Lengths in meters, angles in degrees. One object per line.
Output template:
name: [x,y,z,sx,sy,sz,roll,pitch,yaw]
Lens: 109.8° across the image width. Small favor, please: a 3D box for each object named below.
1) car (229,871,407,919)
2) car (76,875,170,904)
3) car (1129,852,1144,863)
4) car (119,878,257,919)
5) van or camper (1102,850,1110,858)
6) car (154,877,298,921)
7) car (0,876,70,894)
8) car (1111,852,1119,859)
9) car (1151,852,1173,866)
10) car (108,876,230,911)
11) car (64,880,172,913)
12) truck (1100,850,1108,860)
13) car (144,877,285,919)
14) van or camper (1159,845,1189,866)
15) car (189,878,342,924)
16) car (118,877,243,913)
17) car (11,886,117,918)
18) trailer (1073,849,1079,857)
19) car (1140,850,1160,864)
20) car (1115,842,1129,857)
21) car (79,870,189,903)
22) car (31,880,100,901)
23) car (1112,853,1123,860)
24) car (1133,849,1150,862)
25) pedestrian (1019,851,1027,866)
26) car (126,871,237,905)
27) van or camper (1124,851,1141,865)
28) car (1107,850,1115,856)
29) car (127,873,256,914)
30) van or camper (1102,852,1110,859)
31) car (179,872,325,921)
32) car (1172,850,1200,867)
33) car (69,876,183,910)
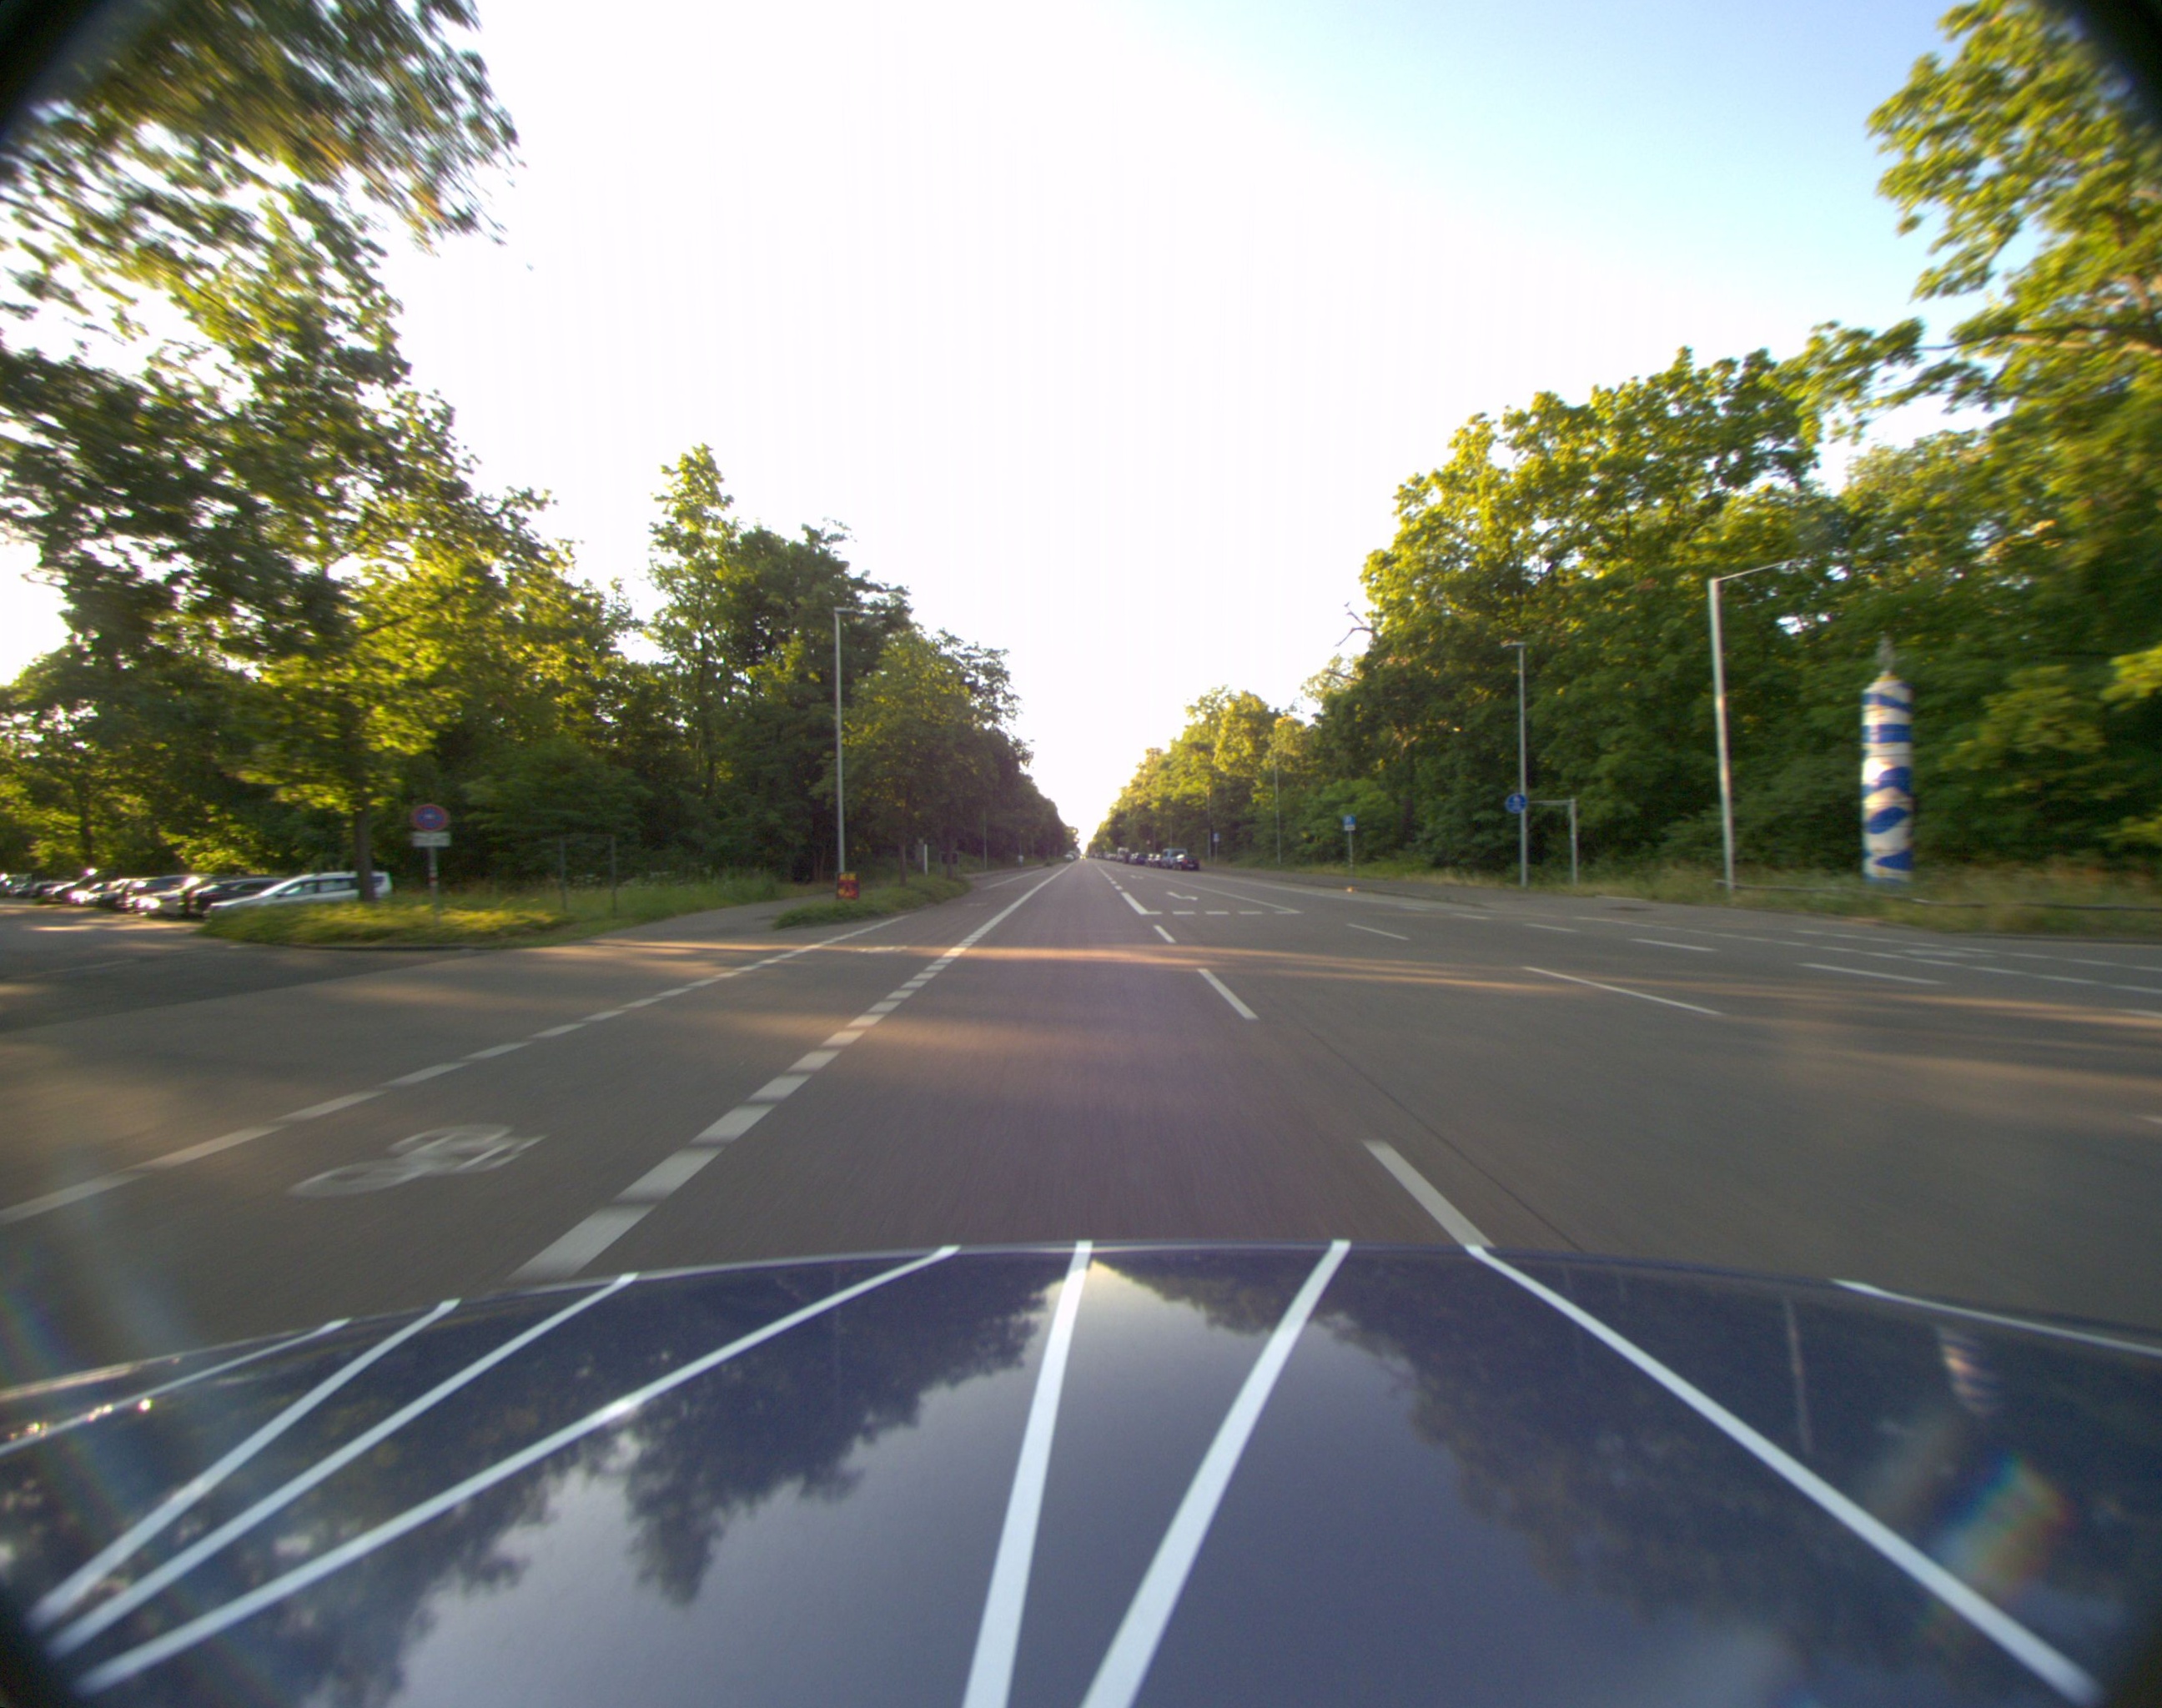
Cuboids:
car: [-26.079,1.335,26.122,1.537,1.388,4.007,-1,1,30]
car: [-63.075,2.311,50.078,1.537,1.652,3.650,-1,1,34]
car: [7.643,0.470,105.344,1.673,1.492,4.245,0,0,-2]
car: [-38.886,1.908,33.190,1.537,1.535,3.650,-1,1,30]
van or camper: [7.348,-0.005,224.173,2.116,2.376,6.381,2,0,-1]
car: [-34.849,1.771,31.074,1.537,1.535,3.650,-1,1,30]
car: [-108.948,3.212,79.206,1.689,1.537,4.119,-1,3,34]
car: [7.789,0.340,172.927,1.716,1.500,3.656,1,0,0]
car: [8.563,0.493,81.000,1.547,1.484,3.970,0,0,-6]
car: [-45.686,1.944,38.144,1.537,1.535,3.650,-1,1,30]
car: [-55.451,2.397,43.819,1.537,1.652,3.650,-1,1,30]
truck: [7.850,0.244,256.900,2.226,3.188,6.271,2,0,-1]
car: [-36.517,1.803,32.115,1.537,1.535,3.650,-1,1,30]
van or camper: [9.236,0.145,75.609,2.037,2.082,5.012,0,0,-3]
car: [-30.740,1.729,28.756,1.537,1.473,3.650,-1,1,30]
car: [-43.489,1.940,36.791,1.537,1.535,3.650,-1,1,30]
car: [-61.611,2.882,46.100,1.537,1.652,3.650,-1,1,30]
trailer: [-1.701,-0.347,244.004,1.866,2.633,4.269,-2,0,0]
car: [7.776,0.327,86.245,1.621,1.525,4.038,0,0,-5]
car: [7.537,-0.799,139.138,2.084,2.591,7.088,2,0,0]
car: [-53.498,1.778,42.982,1.537,1.652,3.650,-1,1,30]
car: [-93.908,3.360,70.270,1.537,1.653,3.649,-1,3,34]
car: [7.815,0.502,162.910,1.850,1.454,4.229,1,0,-2]
car: [7.968,0.238,100.399,1.749,1.702,4.522,0,0,-2]
pedestrian: [-6.980,0.528,90.775,0.840,1.741,0.726,-1,1,1]
car: [-49.265,1.832,41.692,1.537,1.652,3.650,-1,1,30]
van or camper: [7.758,0.580,115.530,2.008,2.006,5.460,1,0,-2]
car: [7.798,-0.278,196.396,1.699,1.636,4.572,0,0,-2]
car: [-41.169,1.780,35.253,1.537,1.652,3.650,-1,1,30]
van or camper: [7.991,0.475,243.534,2.034,1.945,4.691,2,0,-2]
car: [-32.944,1.623,30.315,1.537,1.696,3.650,-1,1,30]
car: [9.614,0.411,69.903,1.692,1.453,4.241,0,0,-5]
car: [-51.974,2.083,41.426,1.537,1.652,3.650,-1,1,30]
